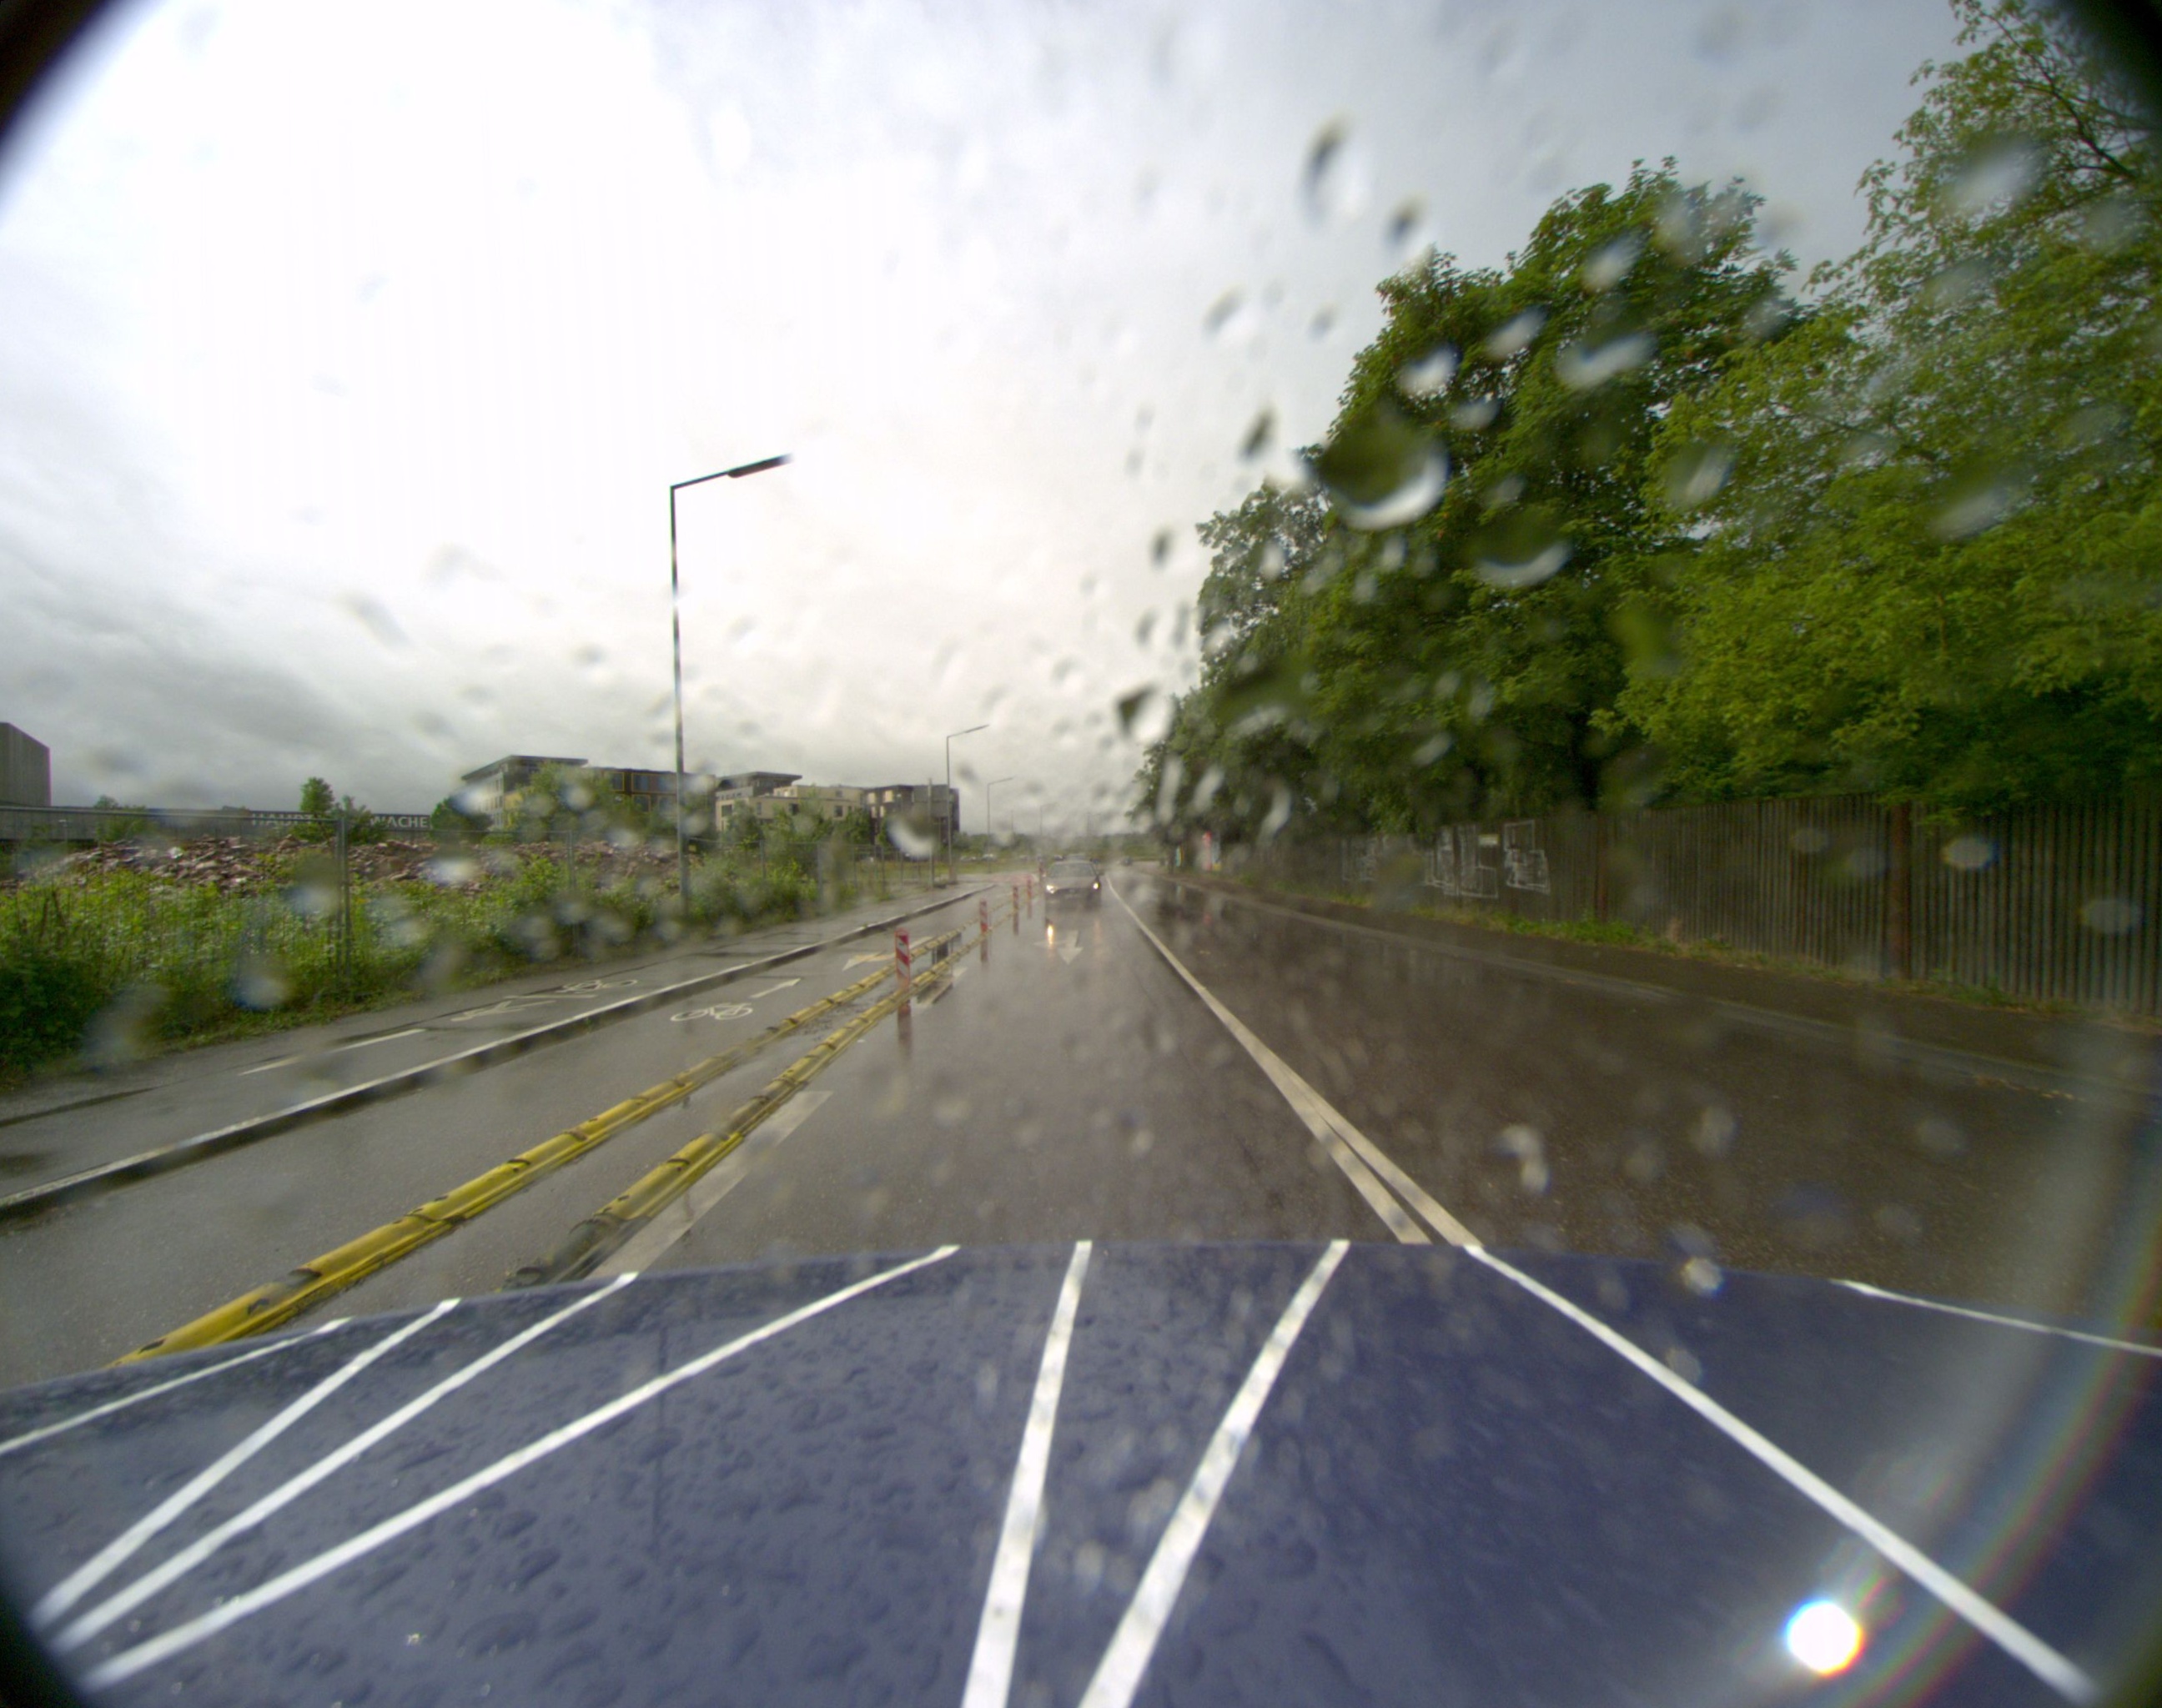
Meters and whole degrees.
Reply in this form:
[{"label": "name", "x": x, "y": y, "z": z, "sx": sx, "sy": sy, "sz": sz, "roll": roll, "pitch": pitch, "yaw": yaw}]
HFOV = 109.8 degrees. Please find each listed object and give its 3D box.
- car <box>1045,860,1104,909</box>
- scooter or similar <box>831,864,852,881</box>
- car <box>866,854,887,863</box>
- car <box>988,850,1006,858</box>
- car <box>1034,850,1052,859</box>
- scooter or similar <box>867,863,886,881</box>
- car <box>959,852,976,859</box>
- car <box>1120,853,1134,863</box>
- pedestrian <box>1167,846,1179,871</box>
[{"label": "car", "x": -0.257, "y": 0.935, "z": 24.810, "sx": 1.724, "sy": 1.423, "sz": 3.817, "roll": -1, "pitch": 0, "yaw": -2}, {"label": "scooter or similar", "x": -16.161, "y": 1.224, "z": 51.201, "sx": 1.191, "sy": 1.143, "sz": 0.748, "roll": 0, "pitch": 1, "yaw": 33}, {"label": "car", "x": -36.963, "y": 0.821, "z": 137.547, "sx": 1.644, "sy": 1.573, "sz": 3.674, "roll": -1, "pitch": 0, "yaw": 24}, {"label": "car", "x": -21.000, "y": 0.043, "z": 190.274, "sx": 4.008, "sy": 2.002, "sz": 1.994, "roll": -2, "pitch": 0, "yaw": -44}, {"label": "car", "x": -9.025, "y": 0.054, "z": 179.513, "sx": 3.989, "sy": 2.002, "sz": 2.004, "roll": -1, "pitch": 0, "yaw": 42}, {"label": "scooter or similar", "x": -13.499, "y": 1.176, "z": 50.165, "sx": 1.191, "sy": 1.143, "sz": 0.484, "roll": 0, "pitch": 1, "yaw": 34}, {"label": "car", "x": -26.996, "y": 0.370, "z": 181.214, "sx": 3.657, "sy": 1.601, "sz": 1.596, "roll": -2, "pitch": 0, "yaw": -40}, {"label": "car", "x": 7.611, "y": 0.656, "z": 125.444, "sx": 1.795, "sy": 1.623, "sz": 3.621, "roll": -1, "pitch": 0, "yaw": 11}, {"label": "pedestrian", "x": 6.704, "y": 0.336, "z": 55.454, "sx": 0.841, "sy": 1.759, "sz": 0.644, "roll": 0, "pitch": 1, "yaw": 0}]
